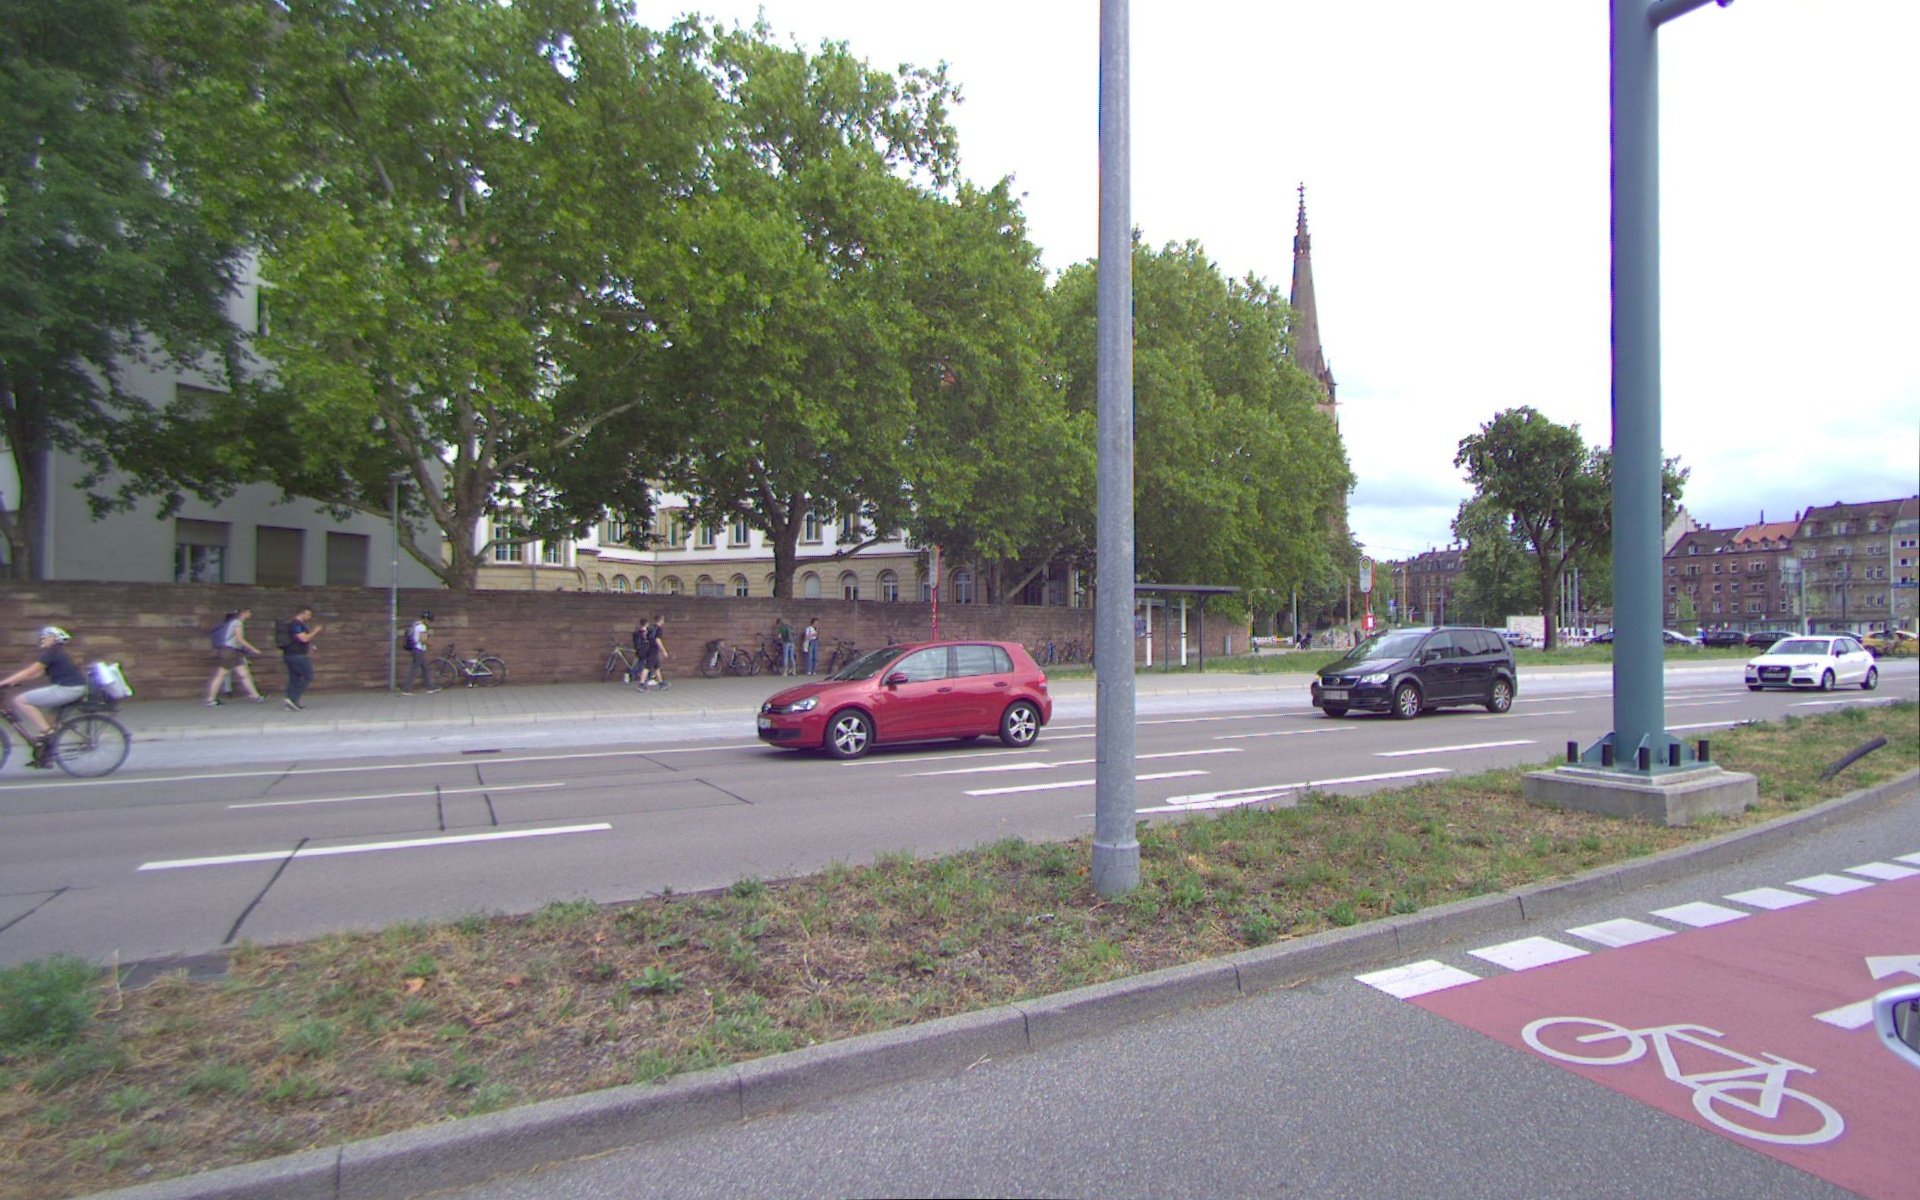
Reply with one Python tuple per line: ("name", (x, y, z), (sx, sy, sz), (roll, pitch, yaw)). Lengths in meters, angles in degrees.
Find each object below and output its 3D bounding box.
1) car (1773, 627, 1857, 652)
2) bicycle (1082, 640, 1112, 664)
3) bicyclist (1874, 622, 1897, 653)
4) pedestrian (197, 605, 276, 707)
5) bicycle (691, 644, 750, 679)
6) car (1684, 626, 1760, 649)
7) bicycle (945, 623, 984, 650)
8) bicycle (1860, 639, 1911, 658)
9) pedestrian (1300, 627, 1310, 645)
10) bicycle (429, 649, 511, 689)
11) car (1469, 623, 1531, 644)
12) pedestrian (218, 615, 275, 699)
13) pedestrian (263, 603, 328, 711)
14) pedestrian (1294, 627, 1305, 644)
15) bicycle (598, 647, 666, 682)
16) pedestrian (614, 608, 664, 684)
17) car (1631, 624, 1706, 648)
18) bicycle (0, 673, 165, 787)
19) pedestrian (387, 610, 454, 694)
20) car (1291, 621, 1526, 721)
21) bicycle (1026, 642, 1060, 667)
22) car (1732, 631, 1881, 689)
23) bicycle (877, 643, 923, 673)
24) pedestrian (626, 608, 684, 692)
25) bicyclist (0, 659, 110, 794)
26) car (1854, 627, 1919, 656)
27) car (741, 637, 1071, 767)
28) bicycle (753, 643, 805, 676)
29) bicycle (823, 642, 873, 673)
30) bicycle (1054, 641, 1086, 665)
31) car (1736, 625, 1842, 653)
("car", (53.735, 2.477, 63.152), (1.567, 1.413, 3.742), (1, 0, -32))
("bicycle", (5.682, 2.151, 41.720), (0.475, 0.919, 1.614), (2, 0, 37))
("bicyclist", (50.737, 2.042, 55.079), (0.566, 1.665, 0.782), (1, -2, -33))
("pedestrian", (-13.217, 1.006, 18.363), (0.748, 1.806, 0.912), (0, -2, 33))
("bicycle", (-6.474, 1.651, 27.225), (0.412, 0.890, 1.546), (2, 0, 44))
("car", (51.003, 2.478, 67.281), (1.567, 1.413, 3.742), (1, 0, -32))
("bicycle", (0.168, 1.250, 34.712), (0.475, 0.919, 1.614), (-1, -2, 39))
("bicycle", (50.726, 2.651, 55.069), (0.624, 0.995, 1.953), (1, -2, -32))
("pedestrian", (30.631, 3.181, 89.209), (0.718, 1.581, 0.558), (1, -2, -34))
("bicycle", (-11.043, 1.537, 22.677), (0.436, 0.838, 1.611), (2, 0, 44))
("car", (43.562, 2.682, 81.146), (1.629, 1.671, 4.130), (1, -2, -33))
("pedestrian", (-13.961, 1.109, 19.647), (0.579, 1.613, 0.732), (0, -2, 39))
("pedestrian", (-11.518, 0.992, 17.416), (0.749, 1.805, 0.719), (-3, -4, 38))
("pedestrian", (30.490, 3.190, 90.257), (0.718, 1.581, 0.558), (1, -2, -34))
("bicycle", (-8.286, 1.622, 25.418), (0.436, 0.838, 1.611), (2, 0, 44))
("pedestrian", (-7.708, 1.099, 24.132), (0.748, 1.806, 0.782), (0, -2, 33))
("car", (46.892, 2.373, 66.557), (1.567, 1.413, 3.742), (1, 0, -32))
("bicycle", (-10.316, 1.455, 11.402), (1.941, 1.186, 0.579), (1, -1, -30))
("pedestrian", (-11.218, 1.067, 20.897), (0.748, 1.693, 0.922), (0, -2, 33))
("car", (8.428, 1.279, 18.830), (4.247, 1.687, 1.795), (1, -3, -29))
("bicycle", (3.174, 2.073, 38.367), (0.475, 0.919, 1.614), (2, 0, 37))
("car", (22.177, 1.526, 26.302), (3.873, 1.407, 1.664), (1, -2, -28))
("bicycle", (-1.909, 1.847, 32.080), (0.435, 0.890, 1.613), (2, 0, 41))
("pedestrian", (-6.750, 1.105, 22.278), (0.748, 1.806, 0.922), (0, -2, 33))
("bicyclist", (-10.280, 1.410, 11.436), (0.801, 1.437, 0.577), (1, -1, -30))
("car", (52.932, 2.319, 56.394), (1.642, 1.537, 3.835), (1, 0, -32))
("car", (-0.698, 1.296, 13.882), (4.237, 1.509, 1.793), (1, -2, -30))
("bicycle", (-5.138, 1.693, 28.618), (0.343, 0.890, 1.513), (2, 0, 44))
("bicycle", (-3.387, 1.740, 30.480), (0.435, 0.890, 1.613), (2, 0, 41))
("bicycle", (4.418, 2.113, 40.172), (0.475, 0.919, 1.614), (2, 0, 37))
("car", (49.989, 2.306, 60.667), (1.642, 1.495, 4.643), (1, 0, -32))
